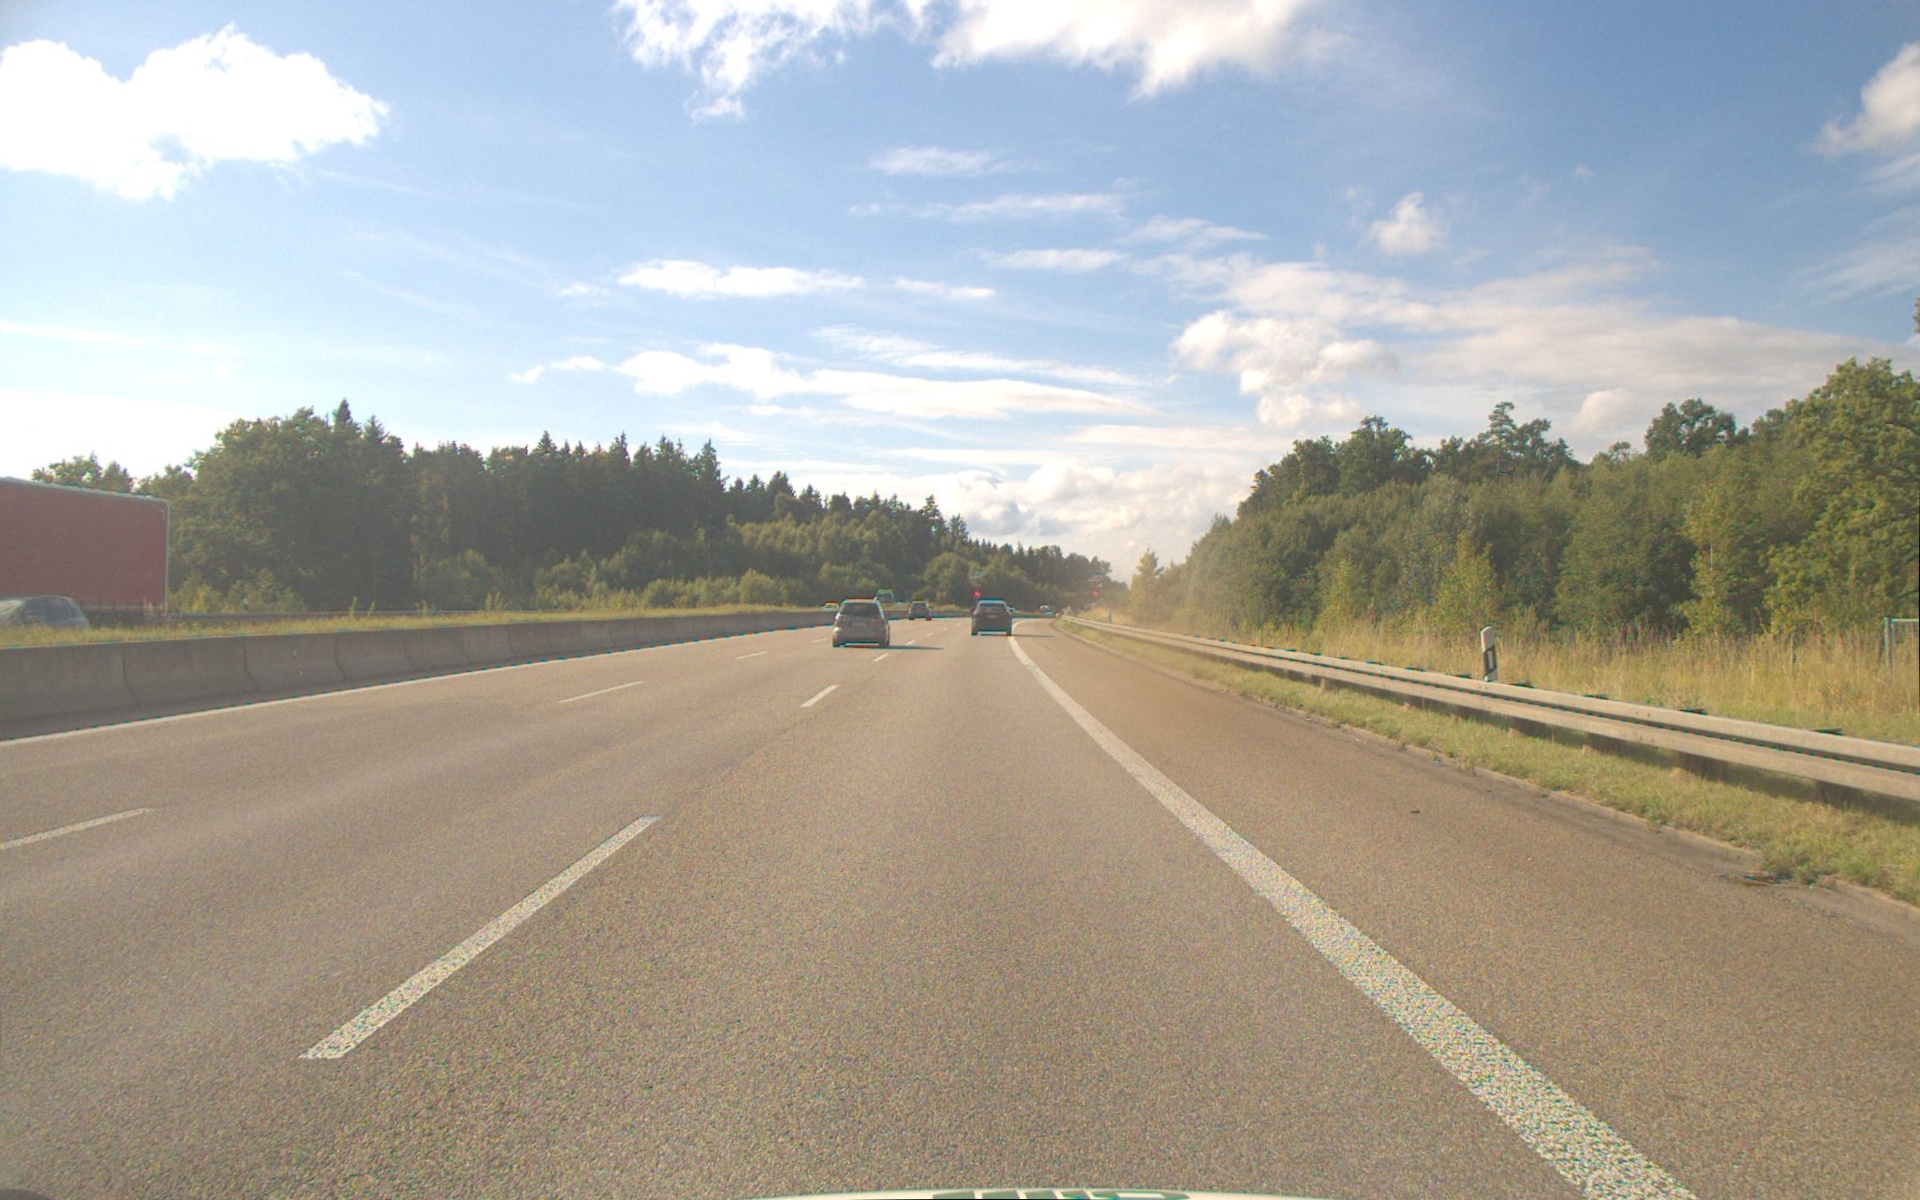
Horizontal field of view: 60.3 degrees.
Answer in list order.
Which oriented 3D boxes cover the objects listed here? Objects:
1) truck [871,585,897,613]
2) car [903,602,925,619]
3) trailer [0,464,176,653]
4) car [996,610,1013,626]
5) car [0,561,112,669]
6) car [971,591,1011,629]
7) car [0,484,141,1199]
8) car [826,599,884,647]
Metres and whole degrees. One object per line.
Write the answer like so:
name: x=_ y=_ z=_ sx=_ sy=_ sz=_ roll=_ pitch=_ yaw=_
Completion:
truck: x=-11.264 y=-0.163 z=244.871 sx=3.305 sy=4.079 sz=5.865 roll=1 pitch=0 yaw=3
car: x=-4.138 y=0.921 z=149.113 sx=1.835 sy=1.523 sz=3.879 roll=1 pitch=0 yaw=0
trailer: x=-22.742 y=-0.941 z=38.412 sx=2.959 sy=4.180 sz=12.791 roll=1 pitch=0 yaw=0
car: x=4.858 y=1.968 z=180.072 sx=1.774 sy=1.736 sz=4.001 roll=0 pitch=0 yaw=2
car: x=-19.060 y=0.269 z=33.245 sx=1.953 sy=2.049 sz=4.000 roll=1 pitch=0 yaw=0
car: x=1.479 y=0.455 z=78.766 sx=1.835 sy=1.704 sz=3.890 roll=1 pitch=0 yaw=1
car: x=-3.072 y=0.601 z=2.027 sx=1.953 sy=1.736 sz=4.528 roll=1 pitch=0 yaw=-2
car: x=-3.480 y=0.743 z=55.406 sx=1.836 sy=1.523 sz=3.878 roll=1 pitch=0 yaw=-2
